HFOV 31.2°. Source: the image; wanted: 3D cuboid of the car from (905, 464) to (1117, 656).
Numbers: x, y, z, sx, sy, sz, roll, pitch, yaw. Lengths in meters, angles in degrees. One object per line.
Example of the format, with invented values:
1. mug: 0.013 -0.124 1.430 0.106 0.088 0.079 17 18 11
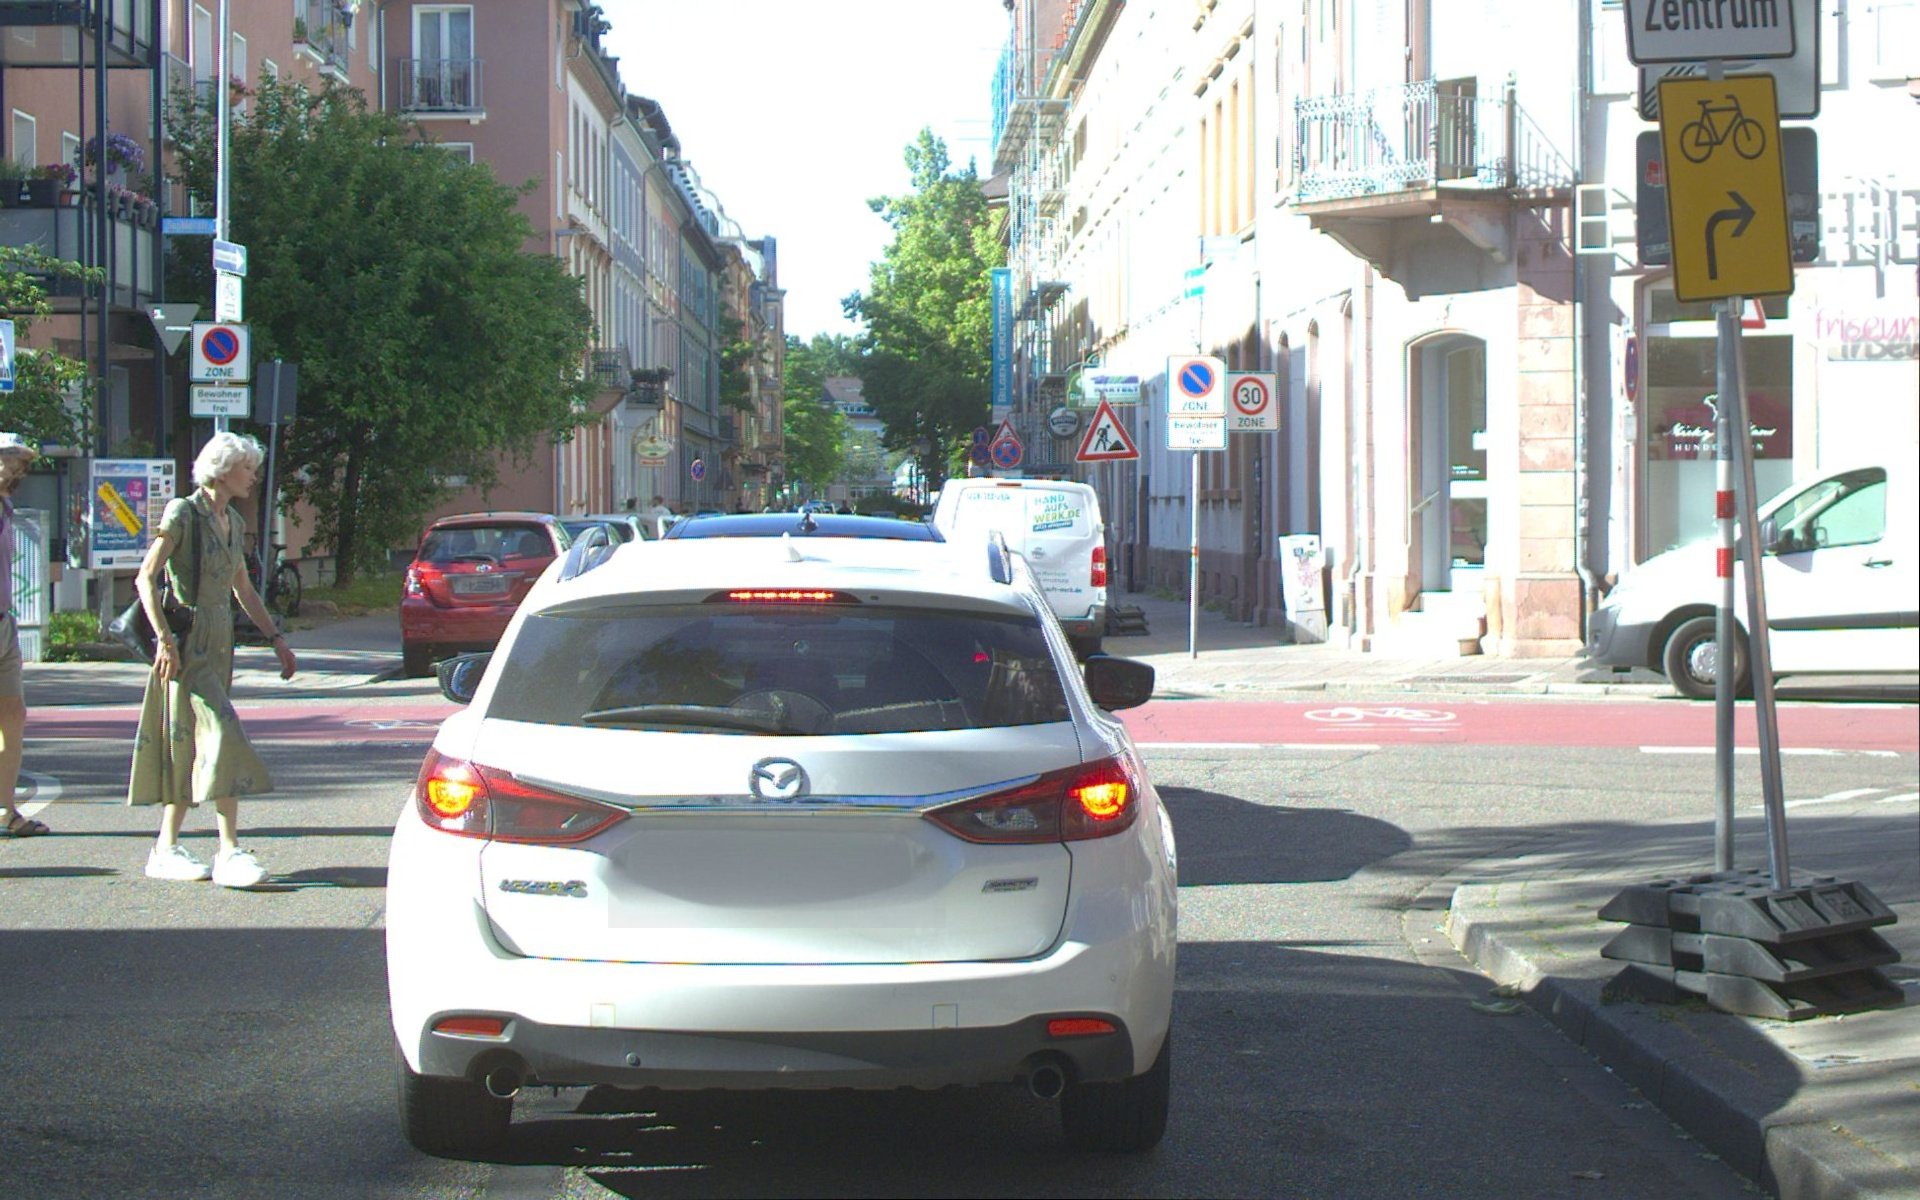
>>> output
1. car: 0.489 -0.454 37.084 1.942 1.941 4.079 1 1 -4

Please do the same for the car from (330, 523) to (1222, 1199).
1. car: -0.443 0.567 8.978 1.823 1.509 3.824 0 1 -2

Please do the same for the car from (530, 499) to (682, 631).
1. car: -4.583 -0.468 44.907 1.635 1.650 3.785 0 1 -1

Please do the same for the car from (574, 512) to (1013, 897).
1. car: -0.705 0.360 15.118 1.682 1.476 3.661 0 1 -2

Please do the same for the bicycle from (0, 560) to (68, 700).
1. bicycle: -8.359 0.230 27.304 2.427 1.076 0.789 0 1 20

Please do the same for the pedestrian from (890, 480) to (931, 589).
1. pedestrian: -0.958 -1.269 67.050 0.771 2.111 0.835 0 1 0

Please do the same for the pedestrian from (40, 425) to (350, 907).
1. pedestrian: -2.996 0.223 13.510 0.854 1.808 0.814 2 4 27

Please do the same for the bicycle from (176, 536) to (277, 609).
1. bicycle: -9.608 -0.365 45.007 0.603 0.929 1.915 -1 1 -34

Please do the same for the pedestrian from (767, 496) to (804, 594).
1. pedestrian: -3.207 -1.020 63.293 0.647 1.791 0.639 0 1 0

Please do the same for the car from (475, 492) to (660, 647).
1. car: -4.450 -0.371 39.394 1.720 1.677 3.726 0 1 -1

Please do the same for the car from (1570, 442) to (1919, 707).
1. car: 7.255 -0.175 25.864 4.895 1.922 1.997 1 0 24

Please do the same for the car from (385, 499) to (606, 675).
1. car: -4.507 -0.178 33.796 1.769 1.583 3.727 0 2 -2

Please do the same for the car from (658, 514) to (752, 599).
1. car: -4.867 -0.841 66.011 1.572 1.580 3.611 0 1 -1

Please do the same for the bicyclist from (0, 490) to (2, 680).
1. bicyclist: -8.367 -0.112 27.289 1.196 1.511 0.840 0 1 19

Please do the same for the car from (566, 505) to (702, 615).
1. car: -4.864 -0.607 51.689 1.720 1.571 3.726 0 1 -1

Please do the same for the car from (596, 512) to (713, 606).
1. car: -4.921 -0.667 55.701 1.602 1.472 3.567 0 1 -1

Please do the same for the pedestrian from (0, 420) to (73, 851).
1. pedestrian: -4.480 0.125 15.044 0.967 1.832 0.682 2 3 8
